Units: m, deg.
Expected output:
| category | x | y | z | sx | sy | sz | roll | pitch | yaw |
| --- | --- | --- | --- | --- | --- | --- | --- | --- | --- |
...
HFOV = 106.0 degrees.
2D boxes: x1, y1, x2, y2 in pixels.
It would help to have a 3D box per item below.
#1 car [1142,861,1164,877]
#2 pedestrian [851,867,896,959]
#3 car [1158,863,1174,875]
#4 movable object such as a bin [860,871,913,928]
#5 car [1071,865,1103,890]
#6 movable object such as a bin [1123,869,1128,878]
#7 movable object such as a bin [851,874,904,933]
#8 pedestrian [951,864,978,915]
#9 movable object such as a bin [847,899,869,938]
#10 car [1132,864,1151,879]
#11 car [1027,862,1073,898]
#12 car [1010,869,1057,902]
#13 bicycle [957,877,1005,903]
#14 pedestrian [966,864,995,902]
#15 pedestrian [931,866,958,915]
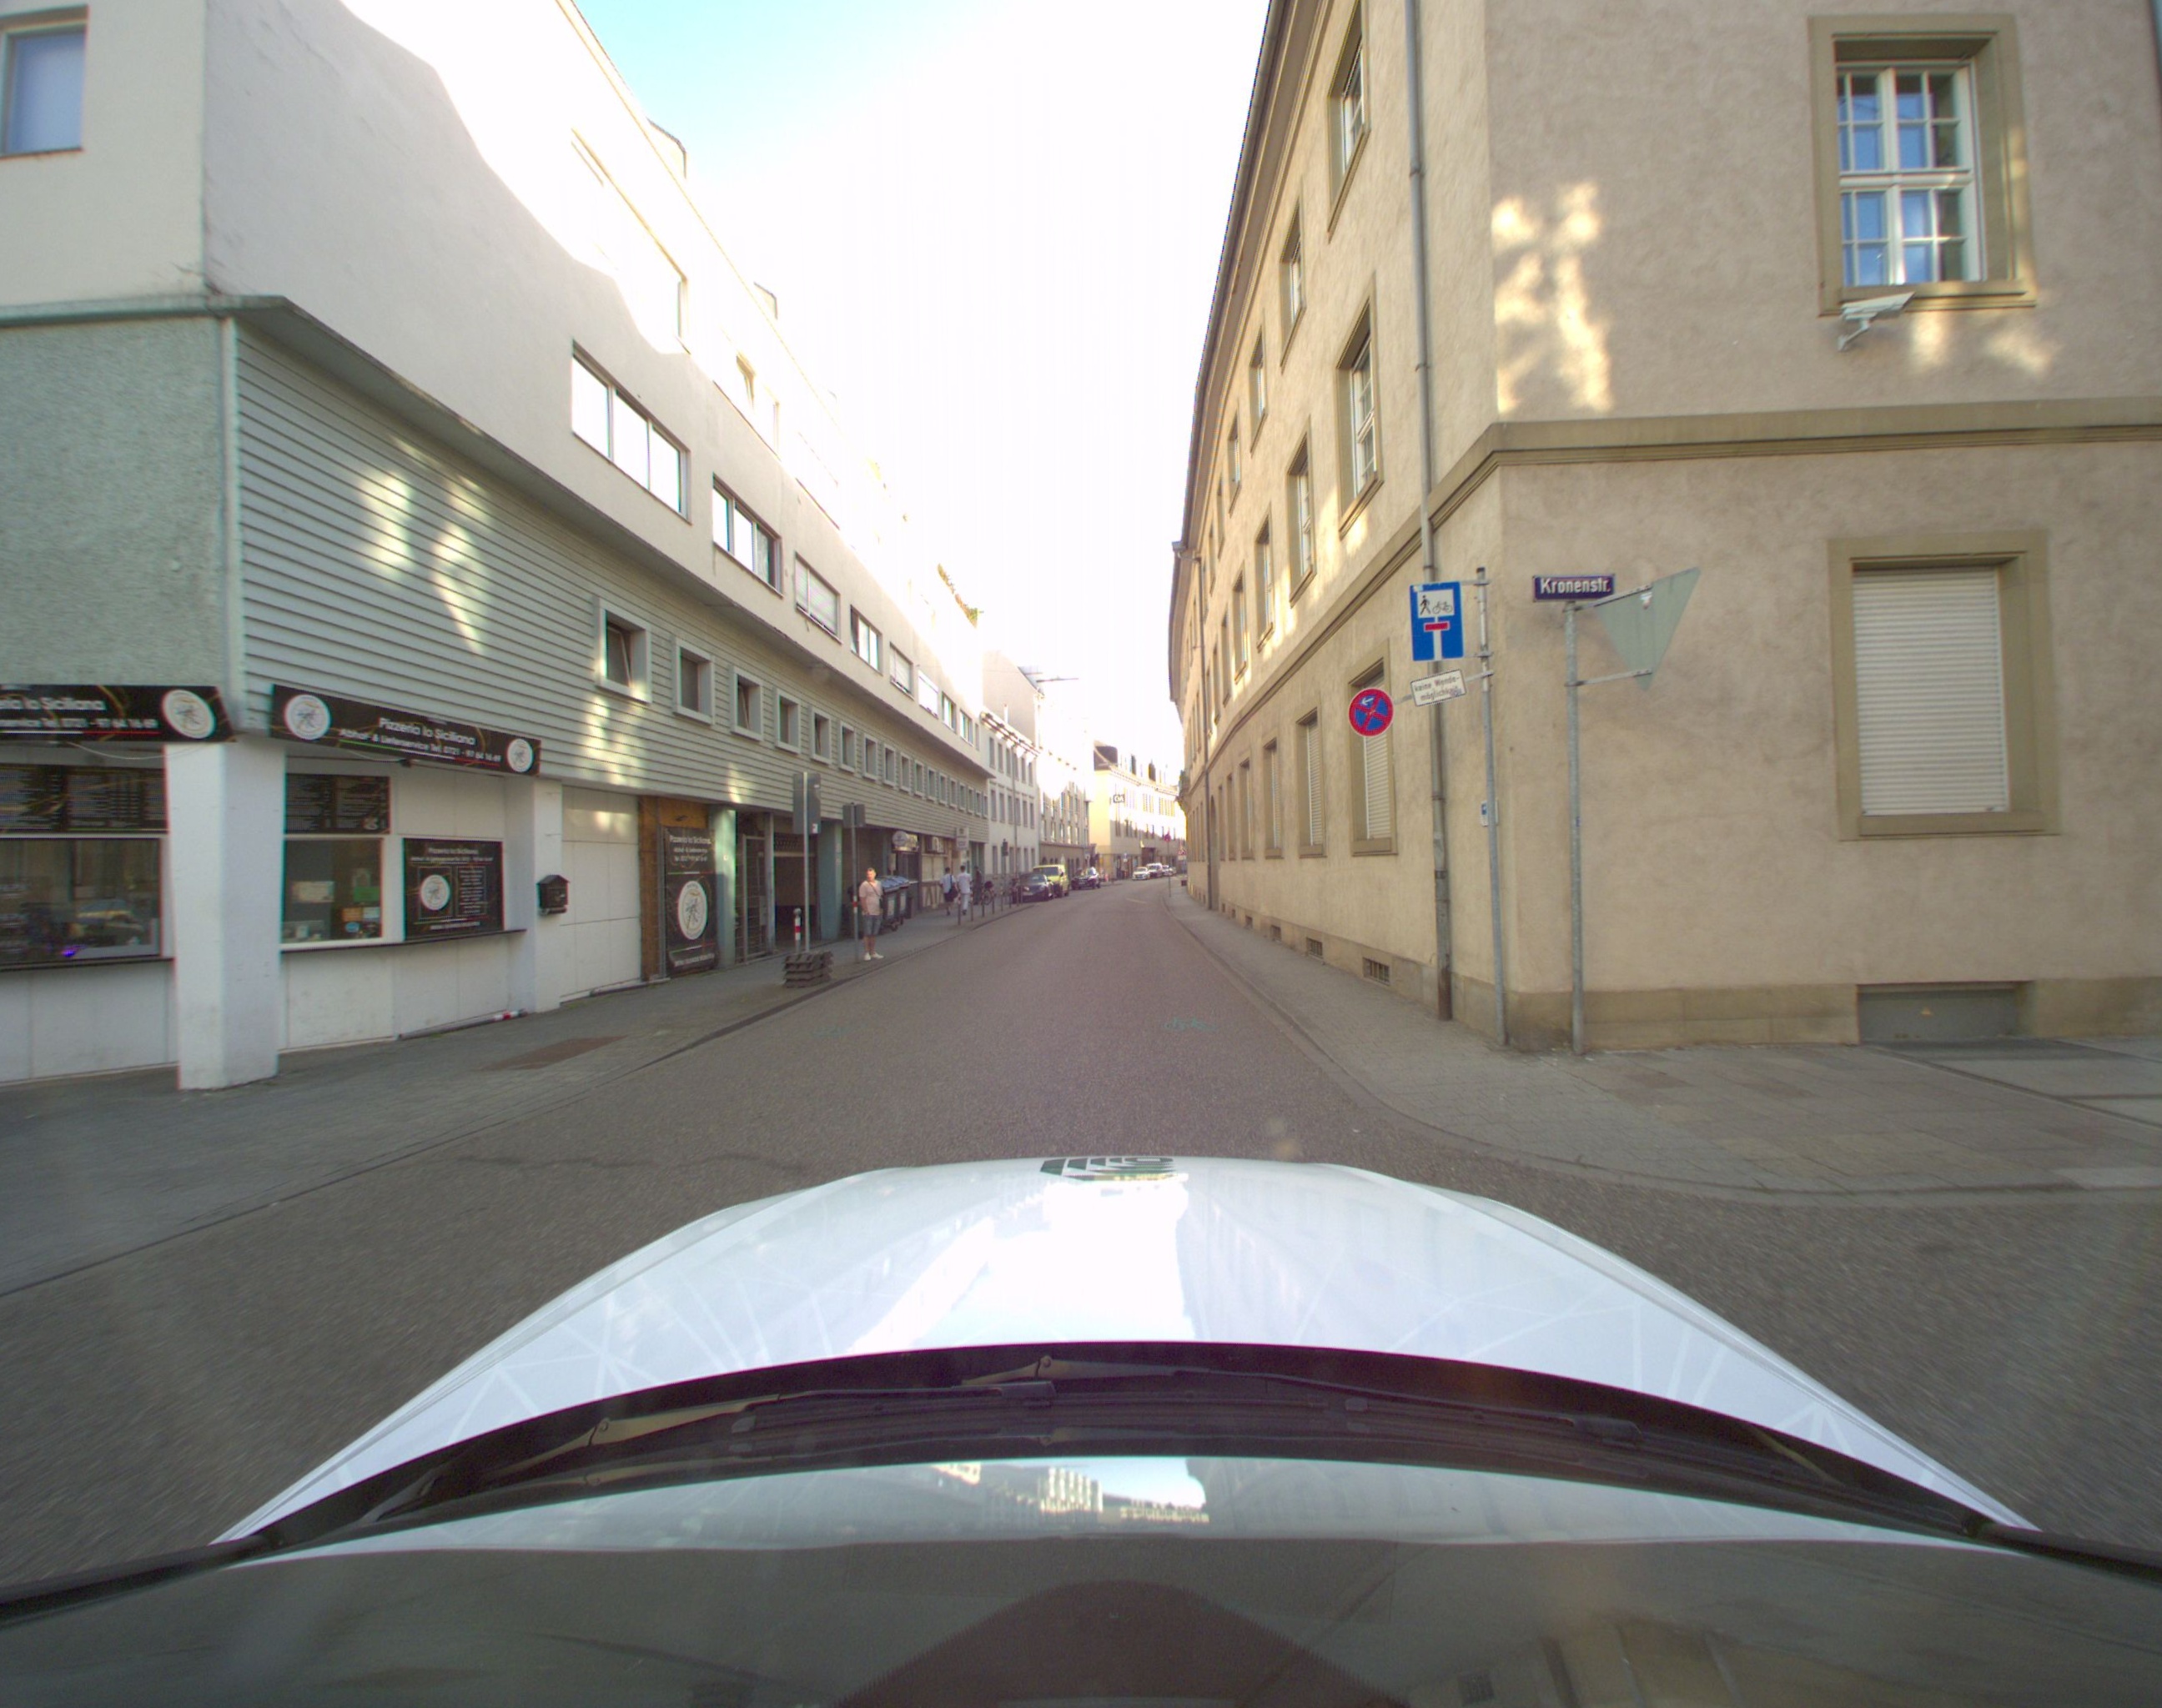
| category | x | y | z | sx | sy | sz | roll | pitch | yaw |
| --- | --- | --- | --- | --- | --- | --- | --- | --- | --- |
| car | 8.835 | 1.830 | 99.612 | 1.657 | 1.818 | 4.572 | -4 | -1 | 17 |
| pedestrian | -3.887 | 1.087 | 15.268 | 0.631 | 1.670 | 0.487 | 2 | -1 | -45 |
| car | 11.017 | 1.917 | 105.507 | 1.261 | 1.507 | 3.417 | -4 | -1 | 18 |
| movable object such as a bin | -5.640 | 1.304 | 23.654 | 1.118 | 1.520 | 1.343 | -2 | 0 | 2 |
| car | 0.493 | 1.788 | 63.798 | 1.729 | 1.711 | 4.202 | -4 | -1 | 10 |
| movable object such as a bin | 5.227 | 2.283 | 95.494 | 0.605 | 1.061 | 0.715 | 1 | -1 | 8 |
| movable object such as a bin | -5.501 | 1.327 | 22.111 | 0.964 | 1.471 | 1.475 | -2 | 0 | 2 |
| pedestrian | -4.154 | 1.255 | 29.003 | 0.695 | 1.734 | 0.830 | -3 | -1 | 4 |
| movable object such as a bin | -5.770 | 1.661 | 21.076 | 0.391 | 0.942 | 0.467 | -2 | -1 | 2 |
| car | 6.995 | 2.009 | 93.975 | 1.659 | 1.507 | 3.806 | -3 | -1 | 12 |
| car | -1.739 | 1.467 | 47.672 | 1.870 | 1.867 | 4.872 | -4 | -1 | 6 |
| car | -2.388 | 1.592 | 42.120 | 1.811 | 1.486 | 4.081 | -4 | -1 | 4 |
| bicycle | -4.722 | 1.711 | 38.548 | 2.108 | 1.163 | 0.828 | -2 | -1 | 27 |
| pedestrian | -4.761 | 1.371 | 38.569 | 1.067 | 1.728 | 0.807 | -2 | -1 | 27 |
| pedestrian | -4.884 | 1.293 | 29.099 | 0.669 | 1.670 | 0.895 | -3 | -1 | 4 |
